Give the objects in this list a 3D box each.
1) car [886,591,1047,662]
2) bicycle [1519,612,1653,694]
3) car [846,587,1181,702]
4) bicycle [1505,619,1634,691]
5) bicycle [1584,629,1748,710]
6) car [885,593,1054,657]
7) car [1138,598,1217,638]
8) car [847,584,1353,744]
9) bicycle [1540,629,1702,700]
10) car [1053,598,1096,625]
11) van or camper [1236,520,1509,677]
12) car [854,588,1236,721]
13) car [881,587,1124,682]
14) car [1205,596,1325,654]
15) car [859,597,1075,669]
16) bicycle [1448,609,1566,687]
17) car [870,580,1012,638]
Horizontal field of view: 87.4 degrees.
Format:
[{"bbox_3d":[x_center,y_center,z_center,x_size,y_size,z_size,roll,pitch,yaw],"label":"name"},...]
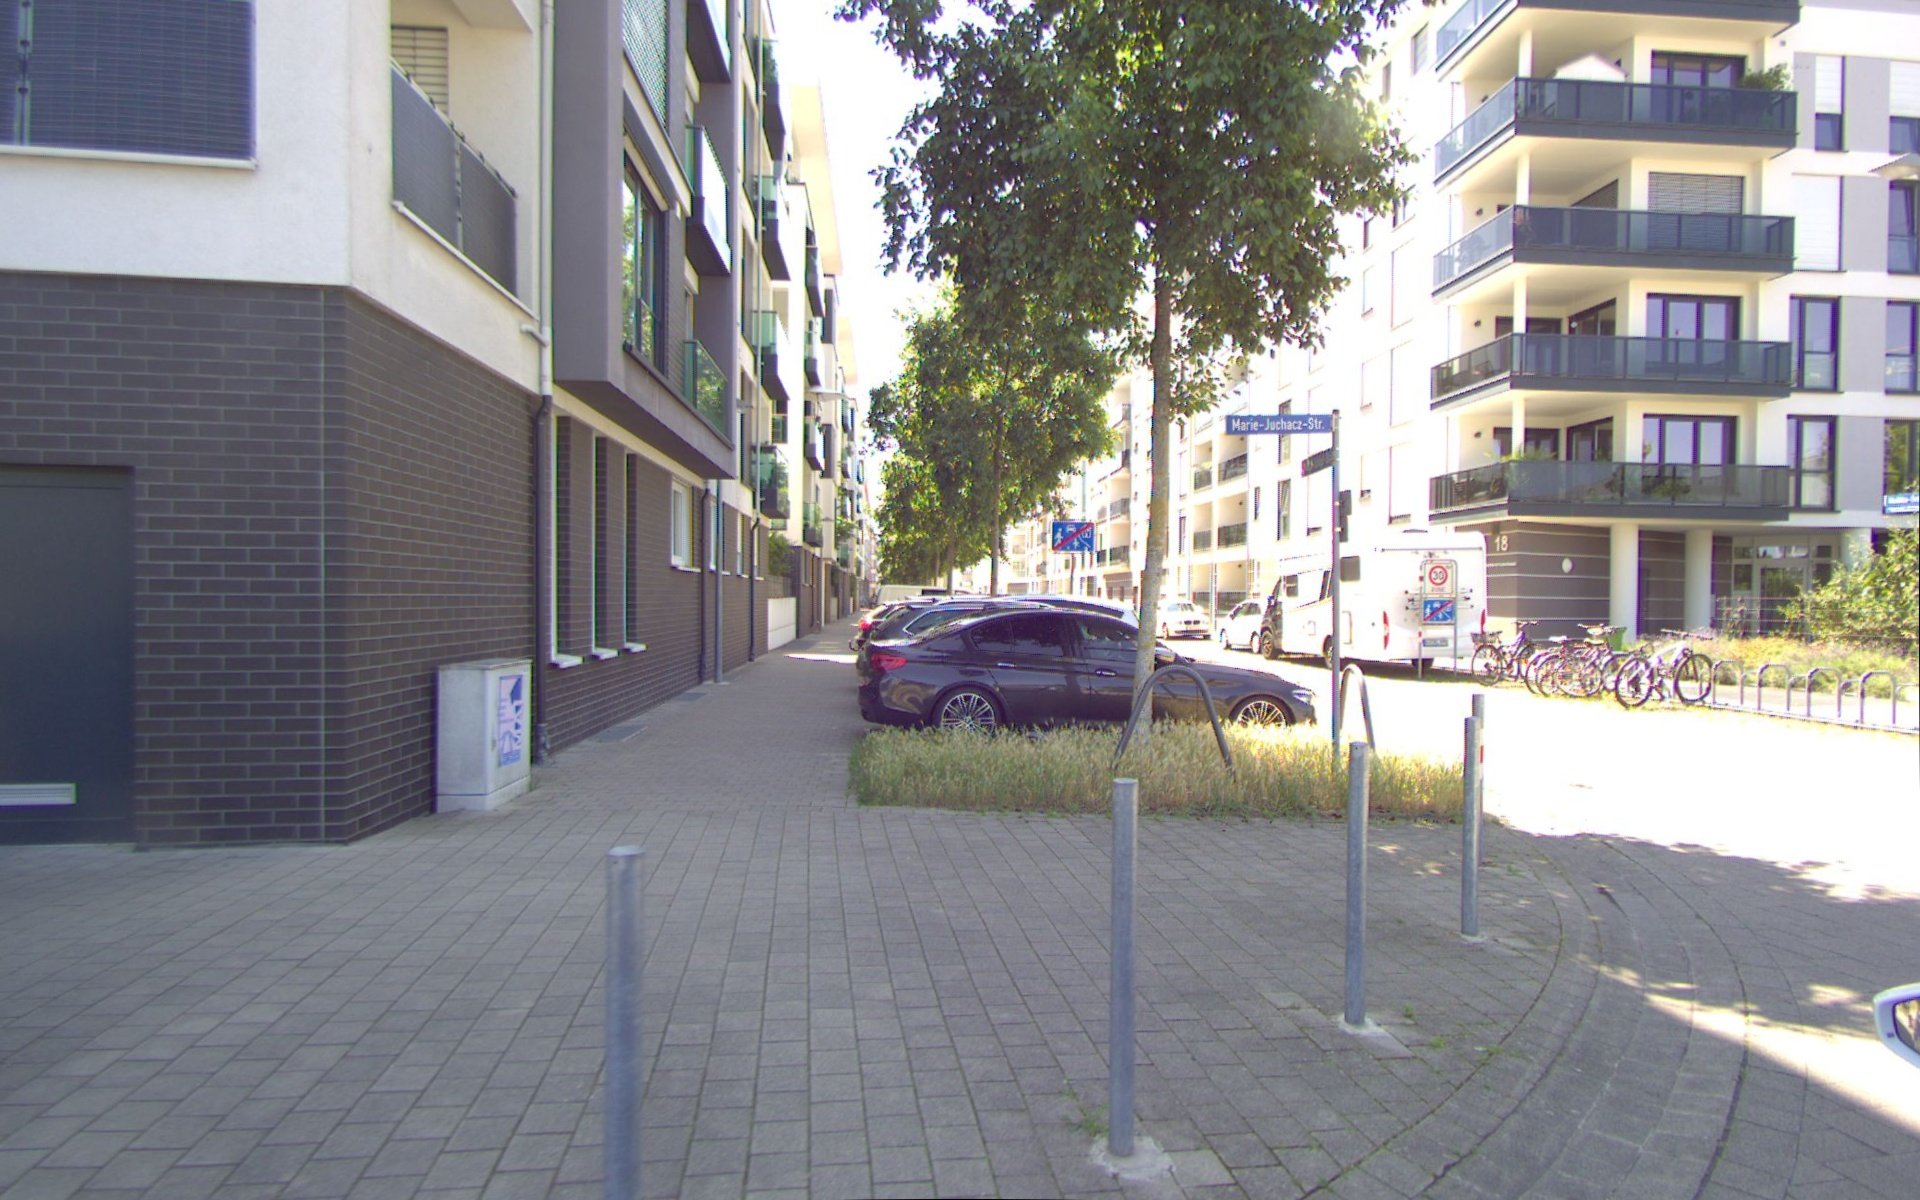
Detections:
[{"bbox_3d":[0.134,0.663,25.646,3.916,1.651,1.949,2,0,-2],"label":"car"},{"bbox_3d":[9.905,0.830,15.908,1.820,1.239,0.555,-1,1,-3],"label":"bicycle"},{"bbox_3d":[0.721,0.655,15.722,4.951,1.654,2.040,1,1,-7],"label":"car"},{"bbox_3d":[9.873,0.880,16.285,1.853,1.125,0.475,0,1,-3],"label":"bicycle"},{"bbox_3d":[10.059,0.960,14.326,2.000,1.016,0.872,-1,1,-17],"label":"bicycle"},{"bbox_3d":[0.217,0.699,28.291,4.490,1.615,1.963,2,0,-10],"label":"car"},{"bbox_3d":[8.192,0.641,38.178,1.816,1.435,4.424,0,0,-3],"label":"car"},{"bbox_3d":[1.331,0.633,10.701,5.020,1.504,1.926,1,0,-7],"label":"car"},{"bbox_3d":[10.014,0.969,15.283,1.822,0.988,0.945,-1,0,8],"label":"bicycle"},{"bbox_3d":[6.719,0.640,59.284,1.710,1.507,4.256,-1,0,-4],"label":"car"},{"bbox_3d":[8.888,0.014,22.885,2.400,2.945,7.820,1,0,-5],"label":"van or camper"},{"bbox_3d":[1.006,0.697,13.324,4.744,1.468,1.826,3,-1,-7],"label":"car"},{"bbox_3d":[0.703,0.611,18.446,4.186,1.551,1.820,2,0,-8],"label":"car"},{"bbox_3d":[8.742,0.667,29.185,1.779,1.525,4.256,-2,0,-6],"label":"car"},{"bbox_3d":[0.118,0.741,23.194,4.773,1.476,1.828,2,0,-4],"label":"car"},{"bbox_3d":[9.770,0.828,17.944,1.893,1.239,0.823,-2,2,-21],"label":"bicycle"},{"bbox_3d":[-0.747,0.324,38.414,5.255,2.139,2.186,0,0,-3],"label":"car"}]
